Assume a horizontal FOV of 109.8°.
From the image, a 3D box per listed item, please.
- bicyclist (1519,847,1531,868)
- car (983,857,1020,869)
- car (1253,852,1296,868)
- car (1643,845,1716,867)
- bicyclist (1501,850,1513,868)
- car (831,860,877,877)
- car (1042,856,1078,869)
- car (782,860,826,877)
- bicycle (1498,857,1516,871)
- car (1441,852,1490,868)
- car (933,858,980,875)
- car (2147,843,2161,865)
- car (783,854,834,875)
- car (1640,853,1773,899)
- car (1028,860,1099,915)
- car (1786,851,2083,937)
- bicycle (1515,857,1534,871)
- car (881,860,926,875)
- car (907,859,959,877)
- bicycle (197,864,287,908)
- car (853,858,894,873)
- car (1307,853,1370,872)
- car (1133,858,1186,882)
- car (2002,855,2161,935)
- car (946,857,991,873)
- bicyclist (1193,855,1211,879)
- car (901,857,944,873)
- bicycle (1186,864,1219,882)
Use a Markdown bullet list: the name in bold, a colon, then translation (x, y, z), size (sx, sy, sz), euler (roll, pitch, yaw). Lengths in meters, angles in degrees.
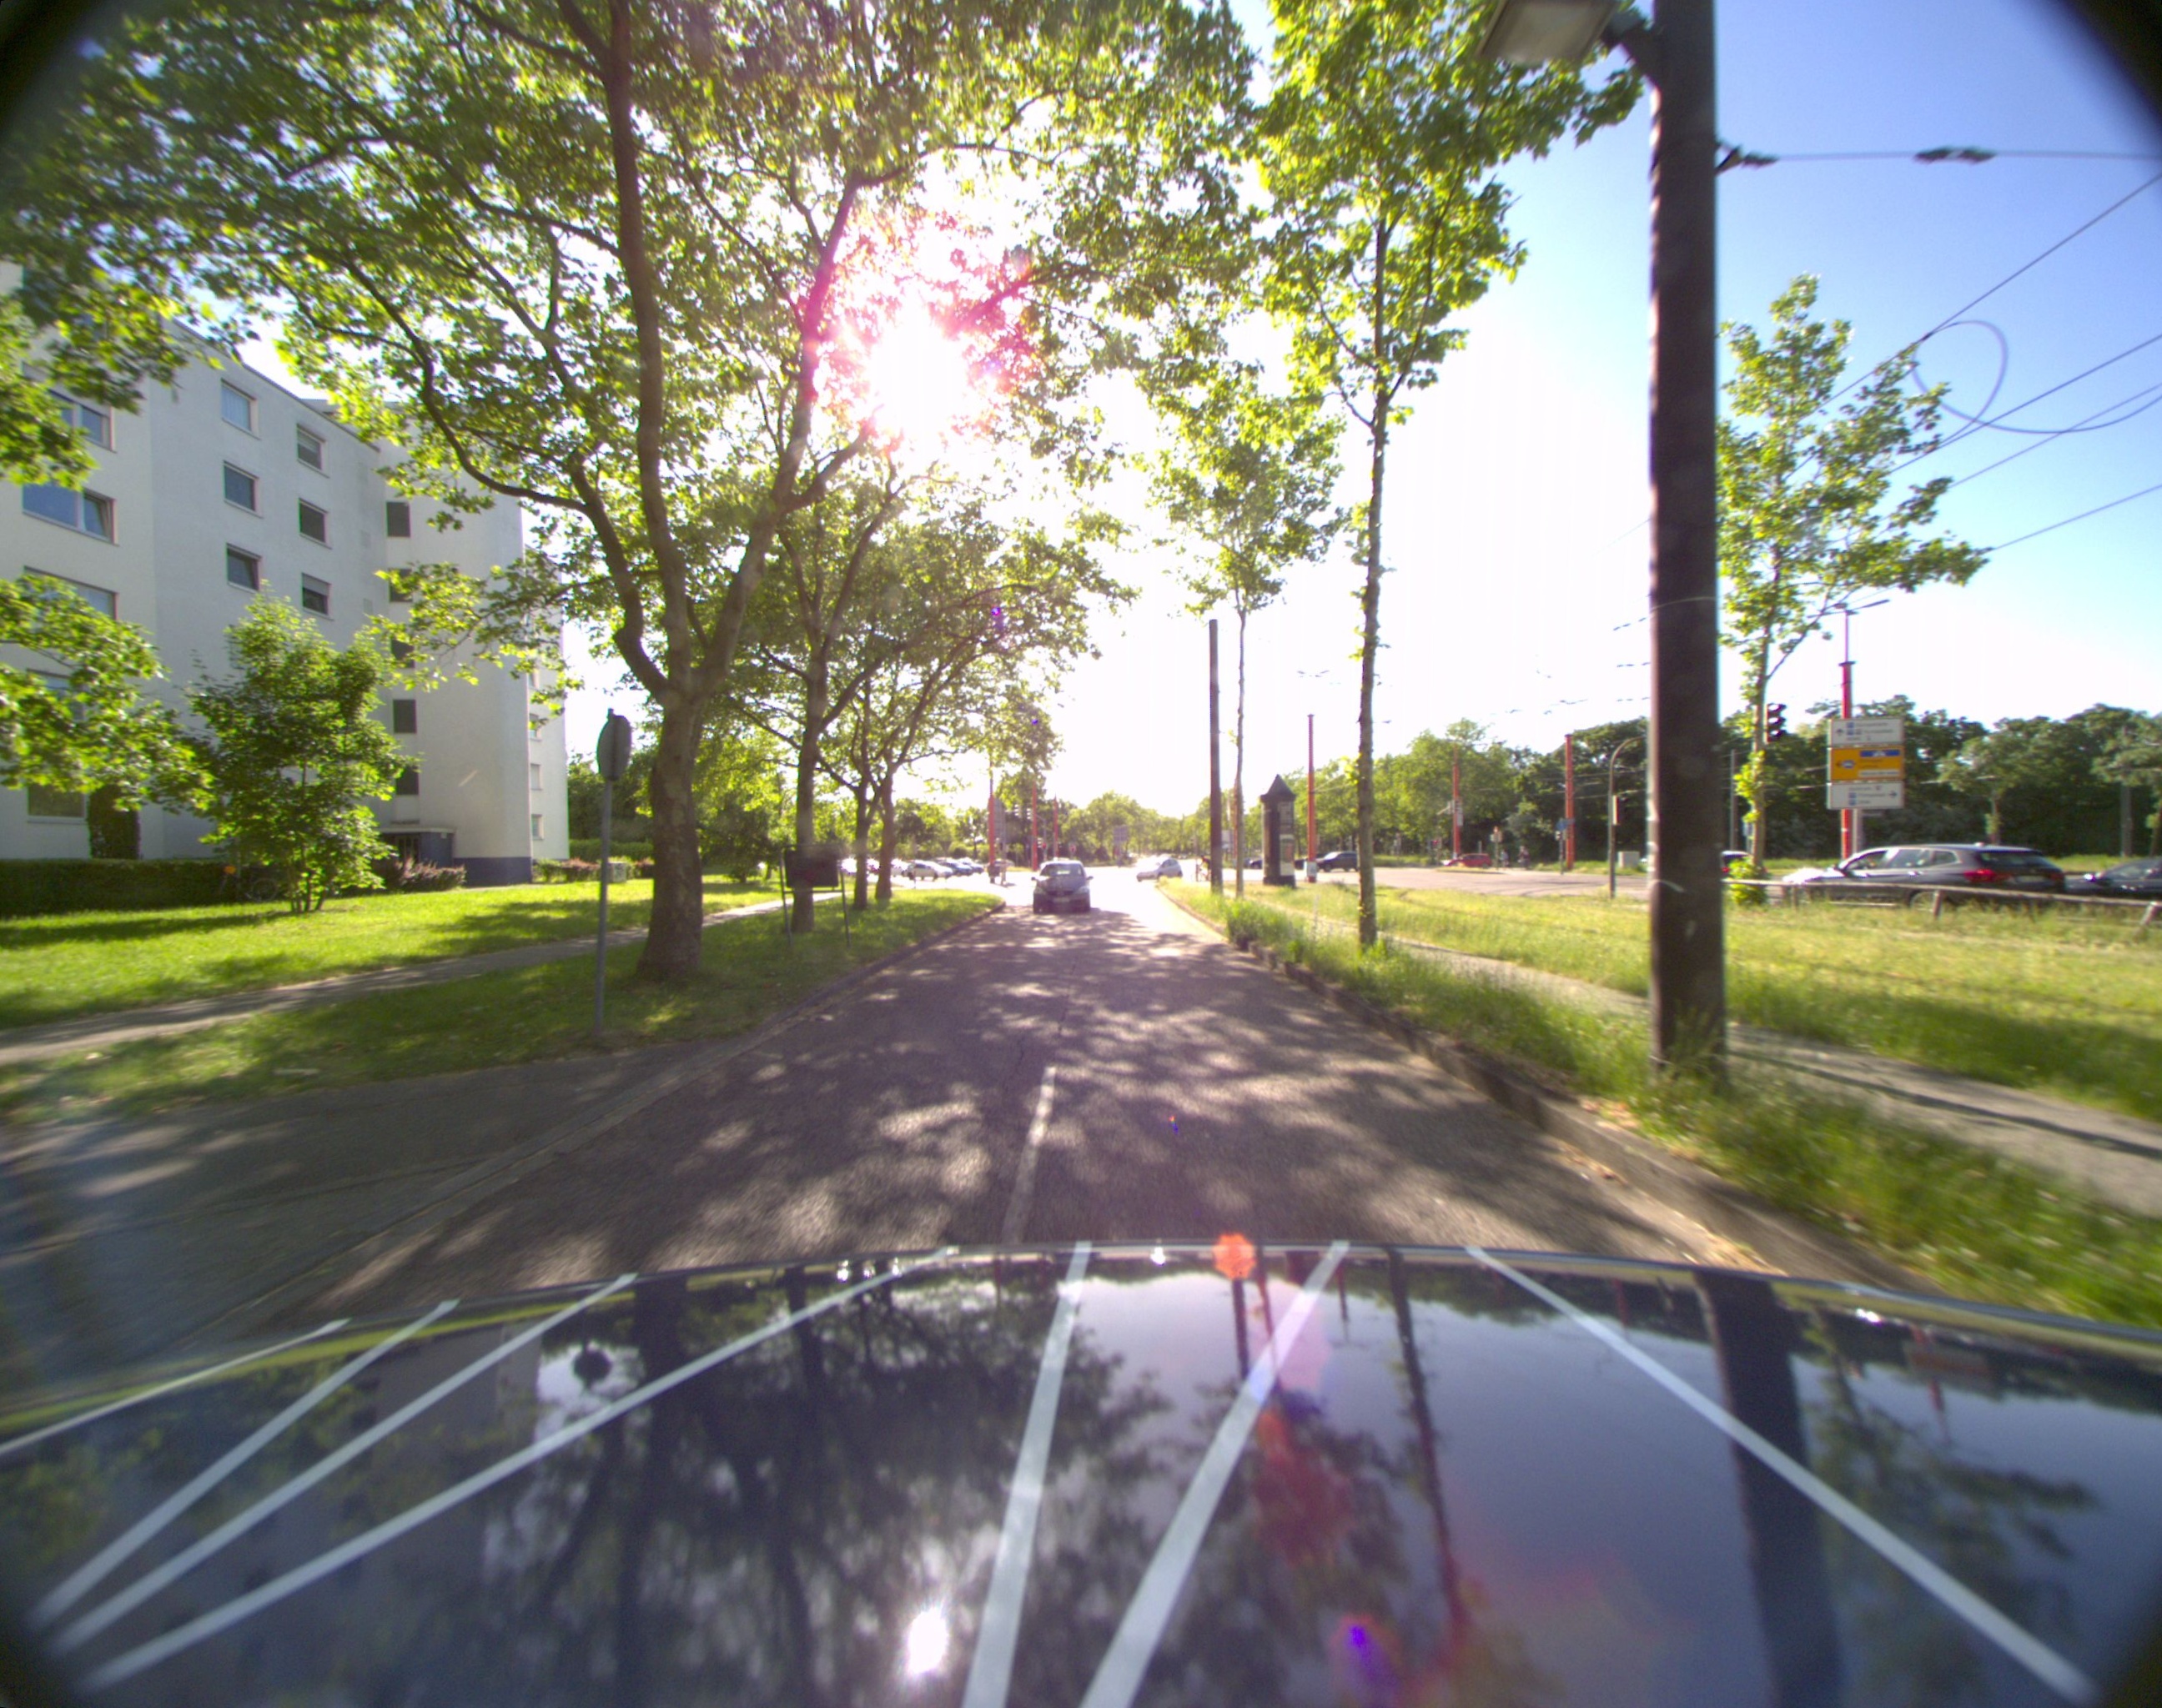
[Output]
- **bicyclist**: translation (35.424, 0.285, 60.658), size (0.562, 1.642, 0.715), euler (-1, 1, 4)
- **car**: translation (-9.906, 1.123, 94.881), size (4.236, 1.501, 1.803), euler (-1, 0, 27)
- **car**: translation (20.032, 0.622, 78.815), size (3.989, 1.645, 1.803), euler (-1, 0, 28)
- **car**: translation (49.833, 0.177, 63.350), size (4.545, 1.825, 1.803), euler (-1, 0, 27)
- **bicyclist**: translation (34.173, 0.406, 60.964), size (0.499, 1.439, 0.778), euler (-1, 1, 4)
- **car**: translation (-21.321, 1.380, 71.399), size (3.989, 1.502, 1.803), euler (-1, 2, 29)
- **car**: translation (-2.367, 0.965, 85.821), size (3.777, 1.501, 1.616), euler (-1, 0, 23)
- **car**: translation (-27.278, 1.470, 74.793), size (3.989, 1.576, 1.803), euler (-1, 2, 29)
- **bicycle**: translation (34.179, 0.783, 60.970), size (0.499, 1.101, 1.800), euler (-1, 0, 4)
- **car**: translation (35.733, 0.550, 70.686), size (3.989, 1.501, 1.803), euler (-1, 0, 28)
- **car**: translation (-11.546, 1.146, 70.393), size (3.989, 1.473, 1.803), euler (-1, 2, 29)
- **car**: translation (74.171, -0.008, 50.171), size (3.989, 1.501, 1.803), euler (-1, 0, 27)
- **car**: translation (-28.746, 1.149, 80.192), size (5.180, 2.075, 2.096), euler (-1, 2, 29)
- **car**: translation (24.477, 0.817, 29.970), size (1.798, 1.668, 4.267), euler (-1, 0, 2)
- **car**: translation (-0.479, 1.021, 24.625), size (1.798, 1.580, 3.765), euler (-1, 0, 6)
- **car**: translation (18.240, 0.765, 16.602), size (1.798, 1.607, 4.234), euler (-1, 0, 1)
- **bicycle**: translation (35.432, 0.764, 60.665), size (0.562, 1.101, 1.800), euler (-1, 0, 4)
- **car**: translation (-17.067, 1.291, 73.196), size (3.989, 1.384, 1.803), euler (-1, 2, 29)
- **car**: translation (-13.043, 1.238, 66.896), size (4.274, 1.473, 1.803), euler (-1, 2, 29)
- **bicycle**: translation (-22.722, 0.841, 20.624), size (0.500, 1.101, 1.799), euler (4, 0, -5)
- **car**: translation (-21.878, 1.241, 80.131), size (3.989, 1.473, 1.803), euler (-1, 2, 29)
- **car**: translation (21.540, 0.689, 63.596), size (4.627, 1.501, 1.788), euler (-1, 0, -10)
- **car**: translation (5.355, 1.062, 51.667), size (1.700, 1.579, 3.913), euler (-1, 0, 39)
- **car**: translation (21.479, 0.784, 14.869), size (1.798, 1.501, 4.267), euler (-1, 0, 2)
- **car**: translation (-10.967, 1.059, 73.955), size (3.989, 1.473, 1.803), euler (-1, 2, 29)
- **bicyclist**: translation (7.611, 0.821, 47.723), size (0.955, 1.469, 0.704), euler (-1, 1, 24)
- **car**: translation (-16.105, 1.142, 77.280), size (3.989, 1.502, 1.803), euler (-1, 2, 29)
- **bicycle**: translation (7.632, 1.171, 47.724), size (1.896, 1.101, 0.704), euler (-1, 1, 24)
